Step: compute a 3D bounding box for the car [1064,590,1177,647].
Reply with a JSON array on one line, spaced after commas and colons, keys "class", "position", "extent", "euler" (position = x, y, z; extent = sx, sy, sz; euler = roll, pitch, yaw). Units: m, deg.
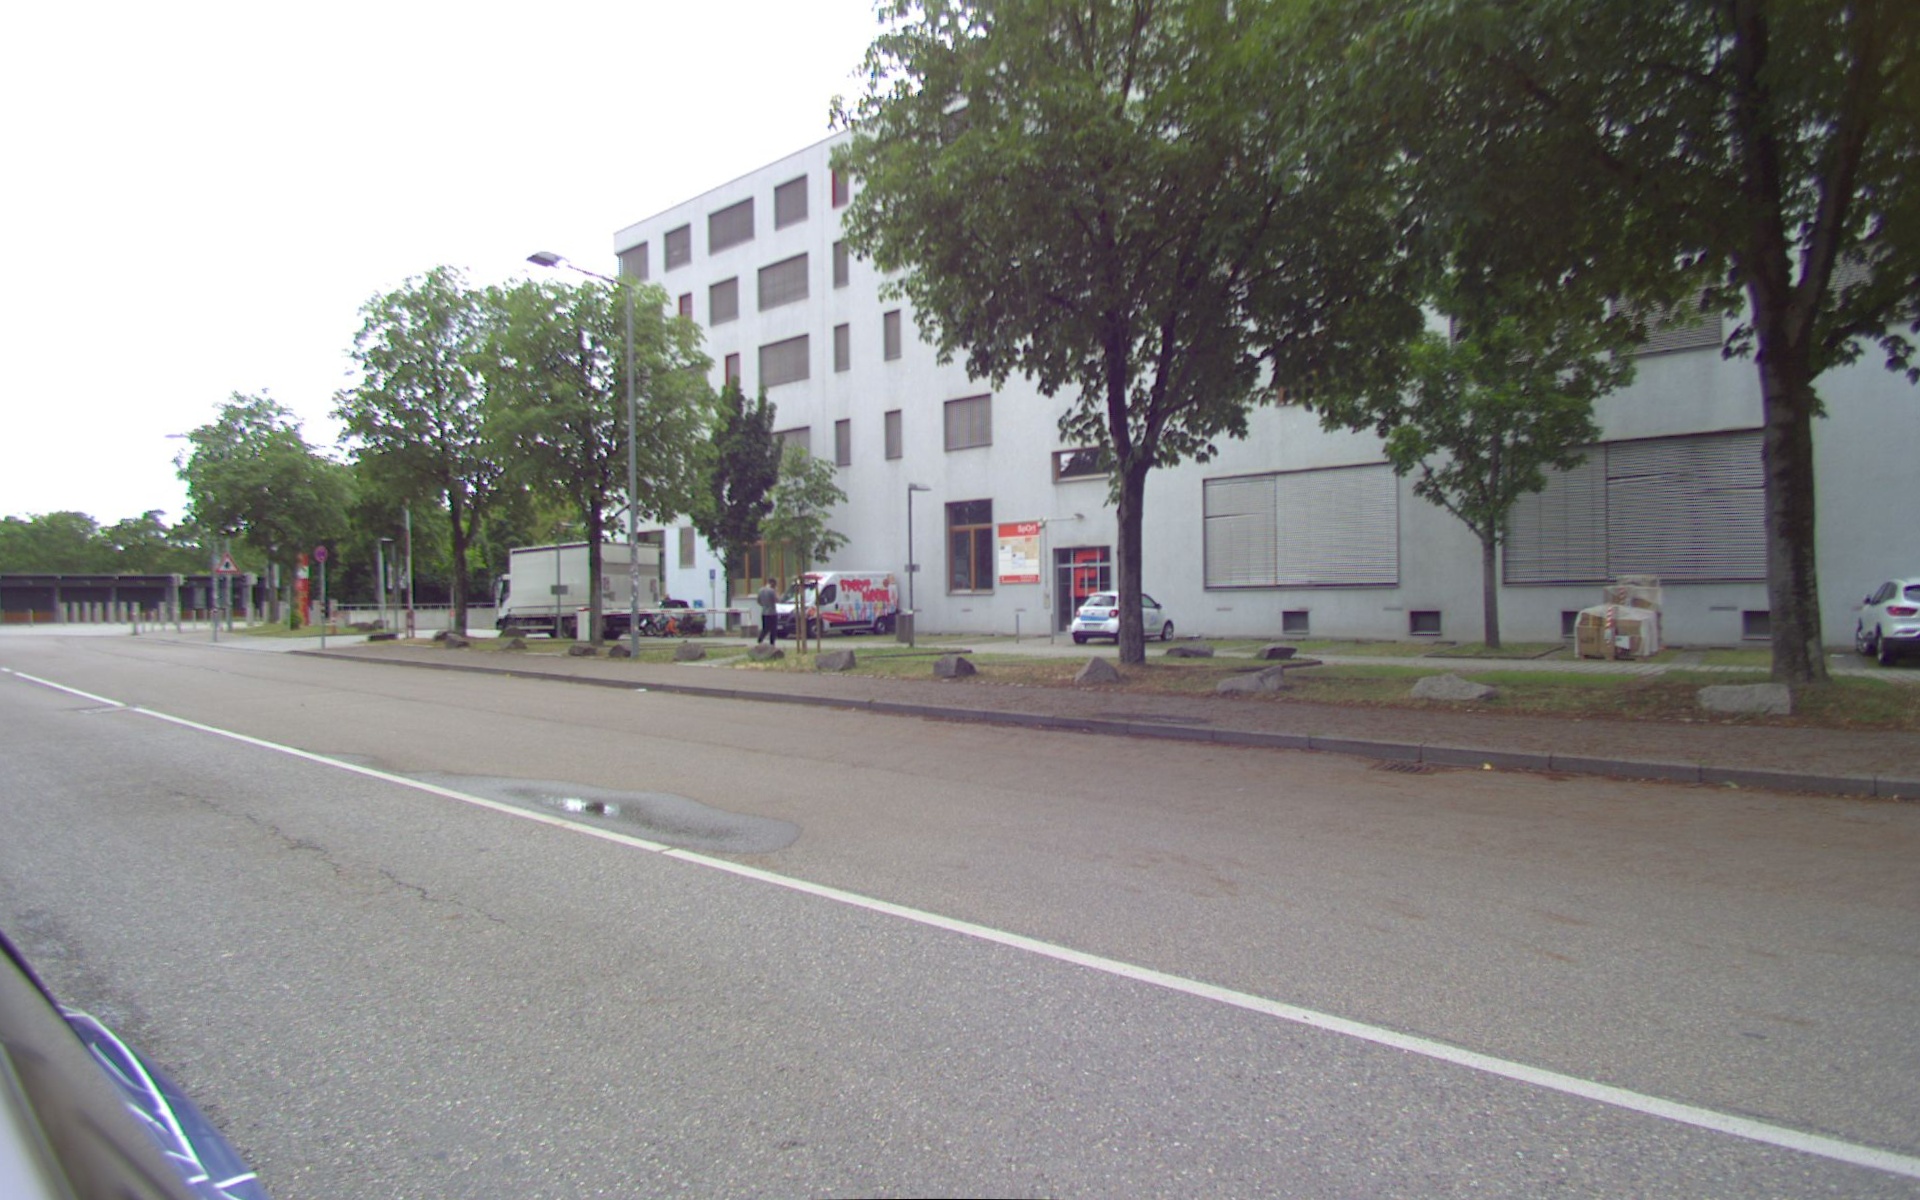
[{"class": "car", "position": [4.753, 0.496, 29.737], "extent": [1.691, 1.511, 3.576], "euler": [0, 1, 40]}]

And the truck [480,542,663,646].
[{"class": "truck", "position": [-15.069, -0.264, 38.862], "extent": [8.354, 3.627, 2.651], "euler": [0, 1, 38]}]

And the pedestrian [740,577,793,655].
[{"class": "pedestrian", "position": [-4.316, 0.336, 22.586], "extent": [0.785, 1.684, 0.835], "euler": [0, 1, 36]}]

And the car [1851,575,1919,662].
[{"class": "car", "position": [17.933, 0.284, 18.651], "extent": [1.896, 1.467, 3.963], "euler": [0, 1, 36]}]

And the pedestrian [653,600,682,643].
[{"class": "pedestrian", "position": [-11.372, 0.826, 39.303], "extent": [0.885, 1.618, 0.672], "euler": [0, 1, 34]}]

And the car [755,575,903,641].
[{"class": "car", "position": [-4.826, 0.233, 38.058], "extent": [2.078, 2.296, 5.569], "euler": [0, 1, 40]}]

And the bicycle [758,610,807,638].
[{"class": "bicycle", "position": [-7.255, 0.962, 41.435], "extent": [0.614, 1.078, 2.002], "euler": [0, 2, 44]}]
